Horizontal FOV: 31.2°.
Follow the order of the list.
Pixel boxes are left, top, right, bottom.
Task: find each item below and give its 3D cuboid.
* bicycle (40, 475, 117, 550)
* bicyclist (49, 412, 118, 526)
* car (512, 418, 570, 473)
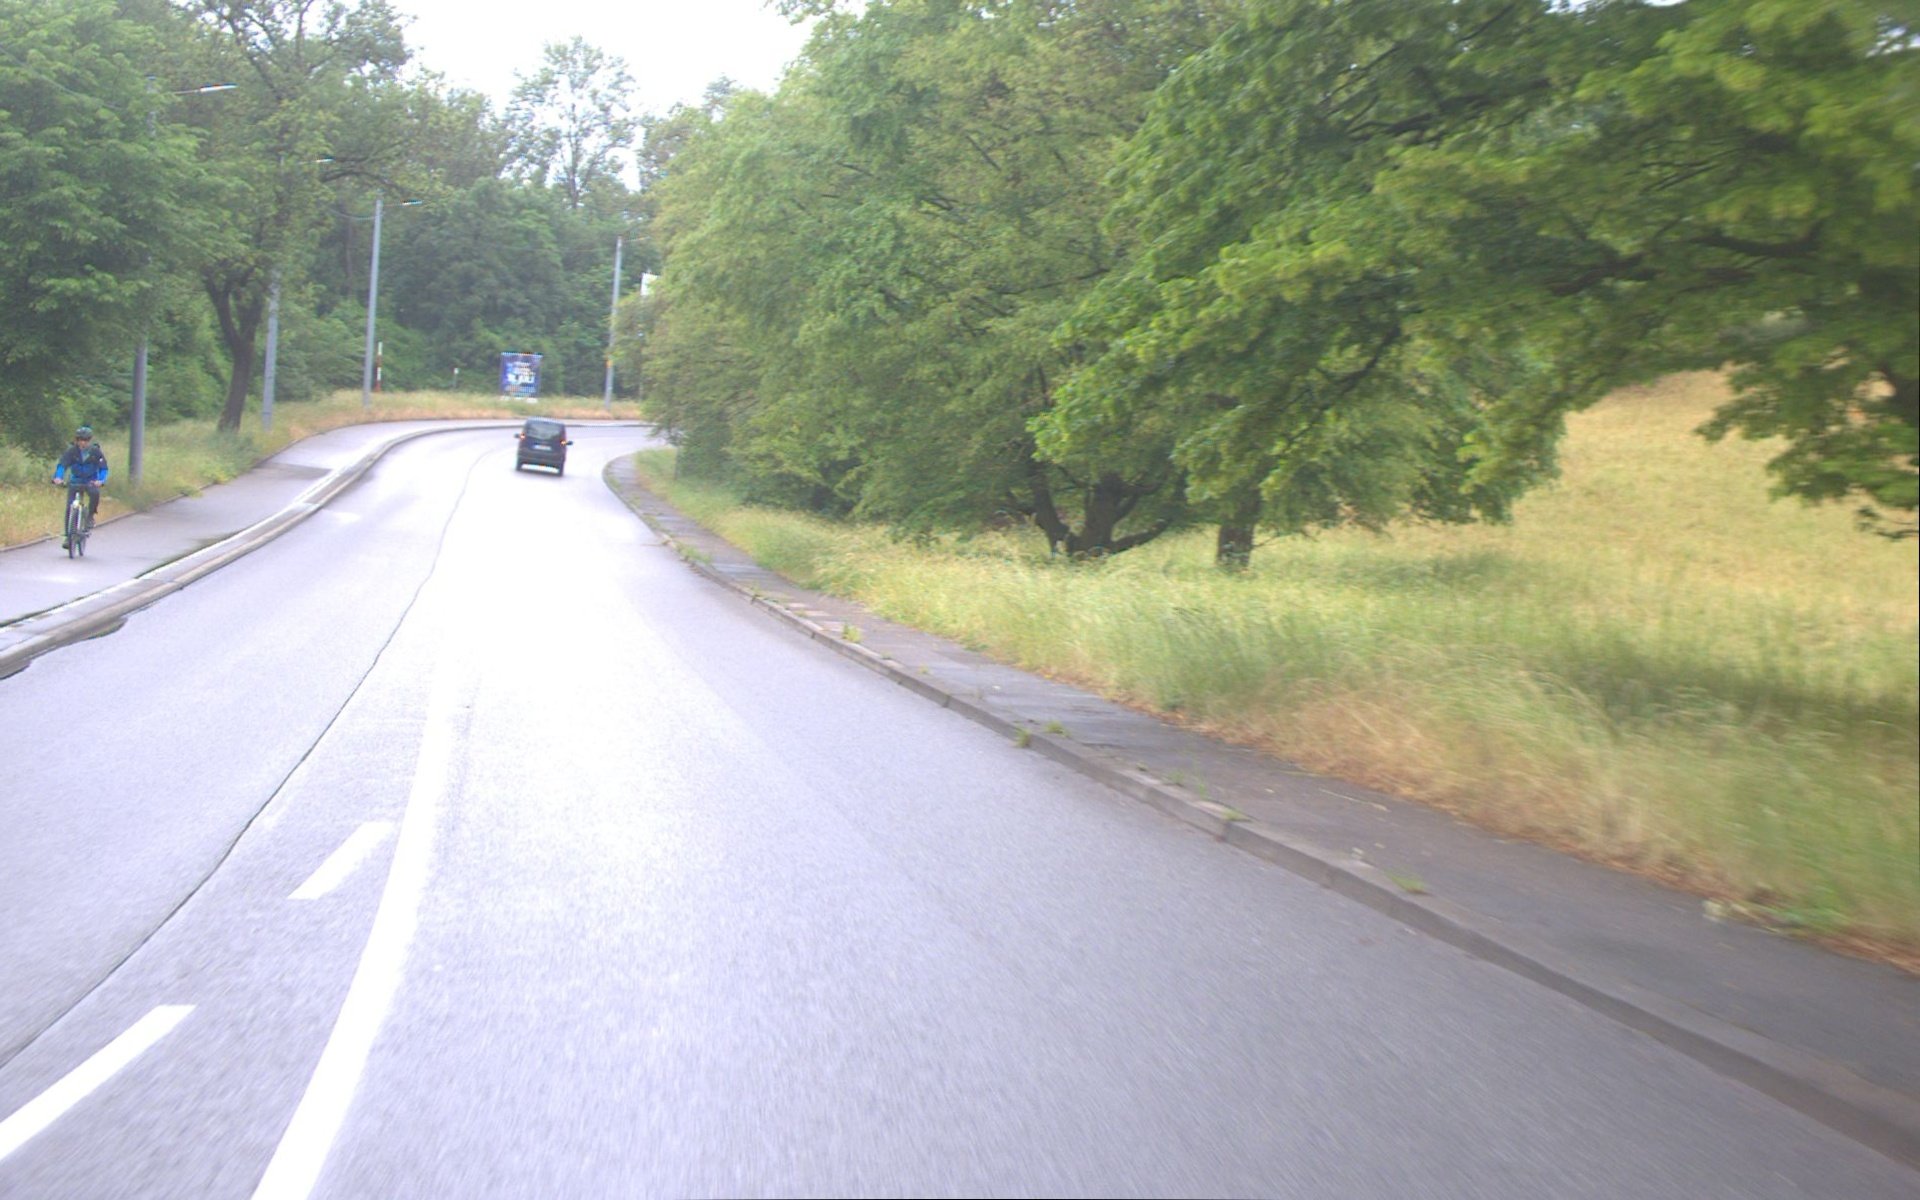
[{"bbox_3d":[-12.519,-1.255,48.883,0.724,0.938,2.551,5,2,-8],"label":"bicycle"},{"bbox_3d":[-12.487,-1.871,49.002,0.708,1.550,1.171,5,2,-8],"label":"bicyclist"},{"bbox_3d":[-14.254,-5.270,117.196,1.741,1.711,4.001,4,2,-6],"label":"car"}]
